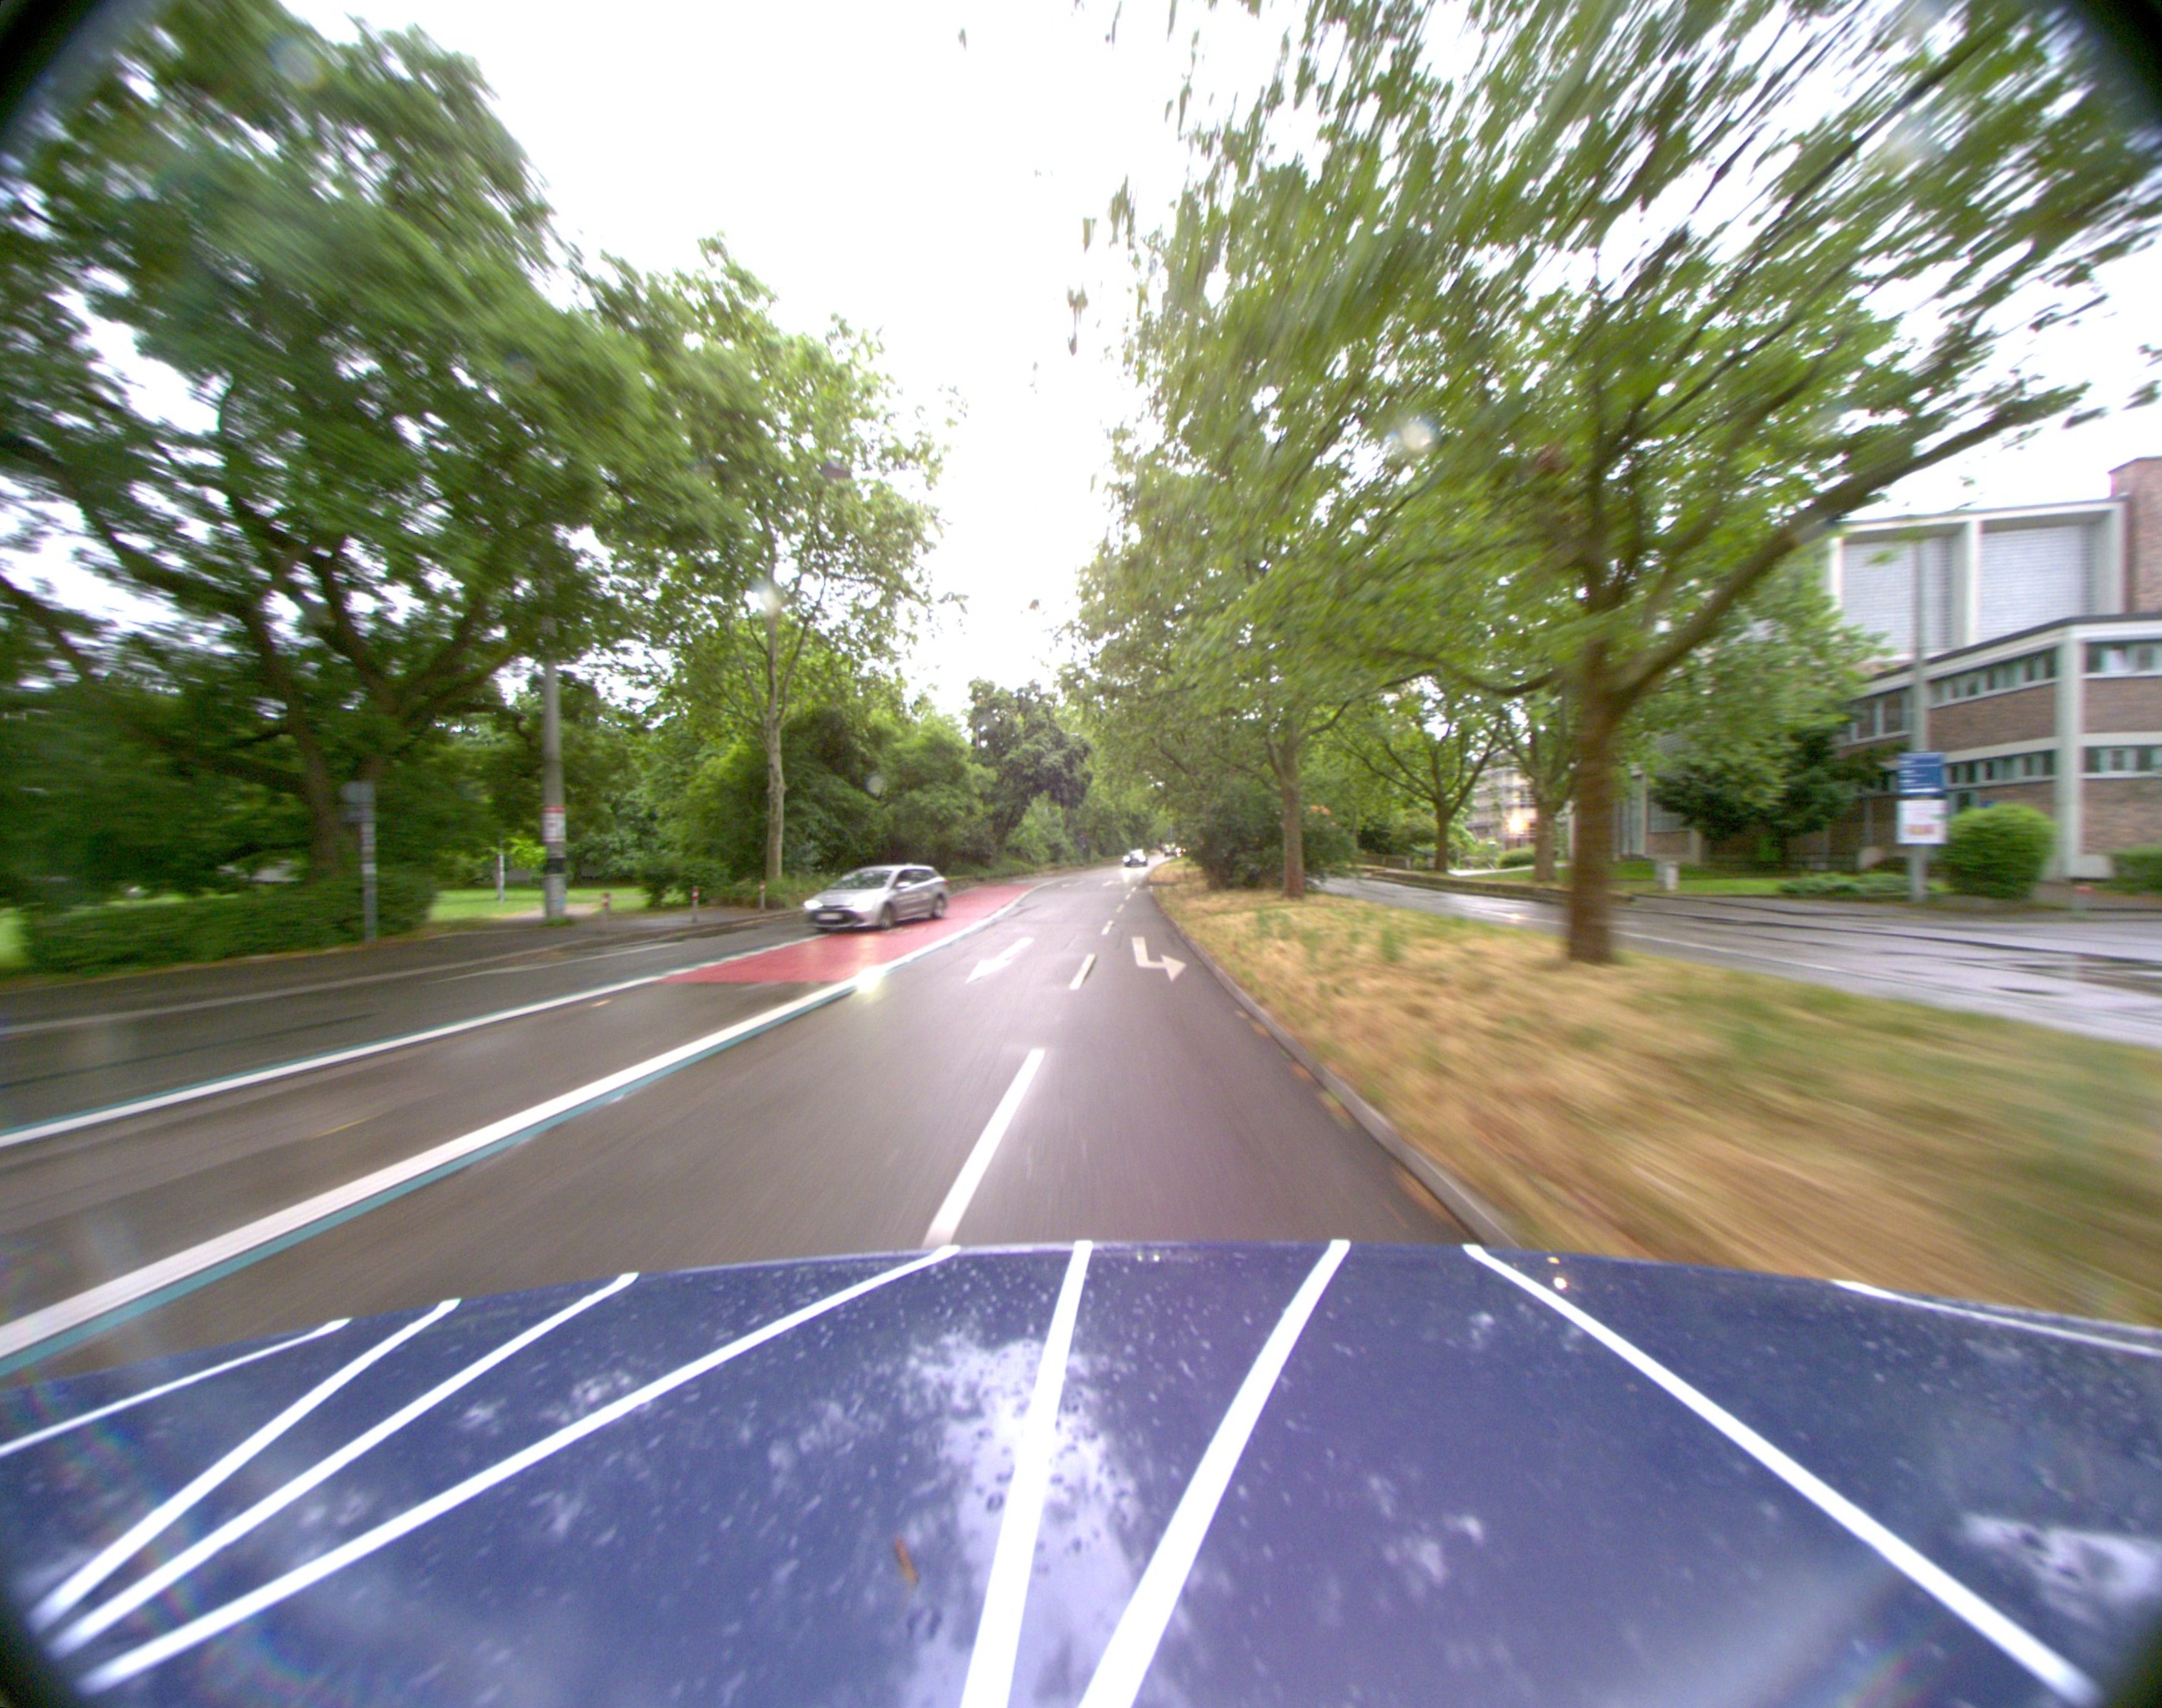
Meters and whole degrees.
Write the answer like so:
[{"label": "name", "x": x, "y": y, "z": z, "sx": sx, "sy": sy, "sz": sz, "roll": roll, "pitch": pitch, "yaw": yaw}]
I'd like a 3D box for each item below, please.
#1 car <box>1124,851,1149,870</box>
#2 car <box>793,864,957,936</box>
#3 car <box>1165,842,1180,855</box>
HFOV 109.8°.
[{"label": "car", "x": 5.348, "y": 0.573, "z": 72.860, "sx": 1.832, "sy": 1.599, "sz": 4.580, "roll": -2, "pitch": 1, "yaw": 11}, {"label": "car", "x": -4.793, "y": 1.016, "z": 18.426, "sx": 1.864, "sy": 1.441, "sz": 4.408, "roll": -1, "pitch": 0, "yaw": 14}, {"label": "car", "x": 14.597, "y": -0.944, "z": 121.364, "sx": 1.883, "sy": 1.865, "sz": 4.744, "roll": -7, "pitch": 0, "yaw": 10}]
